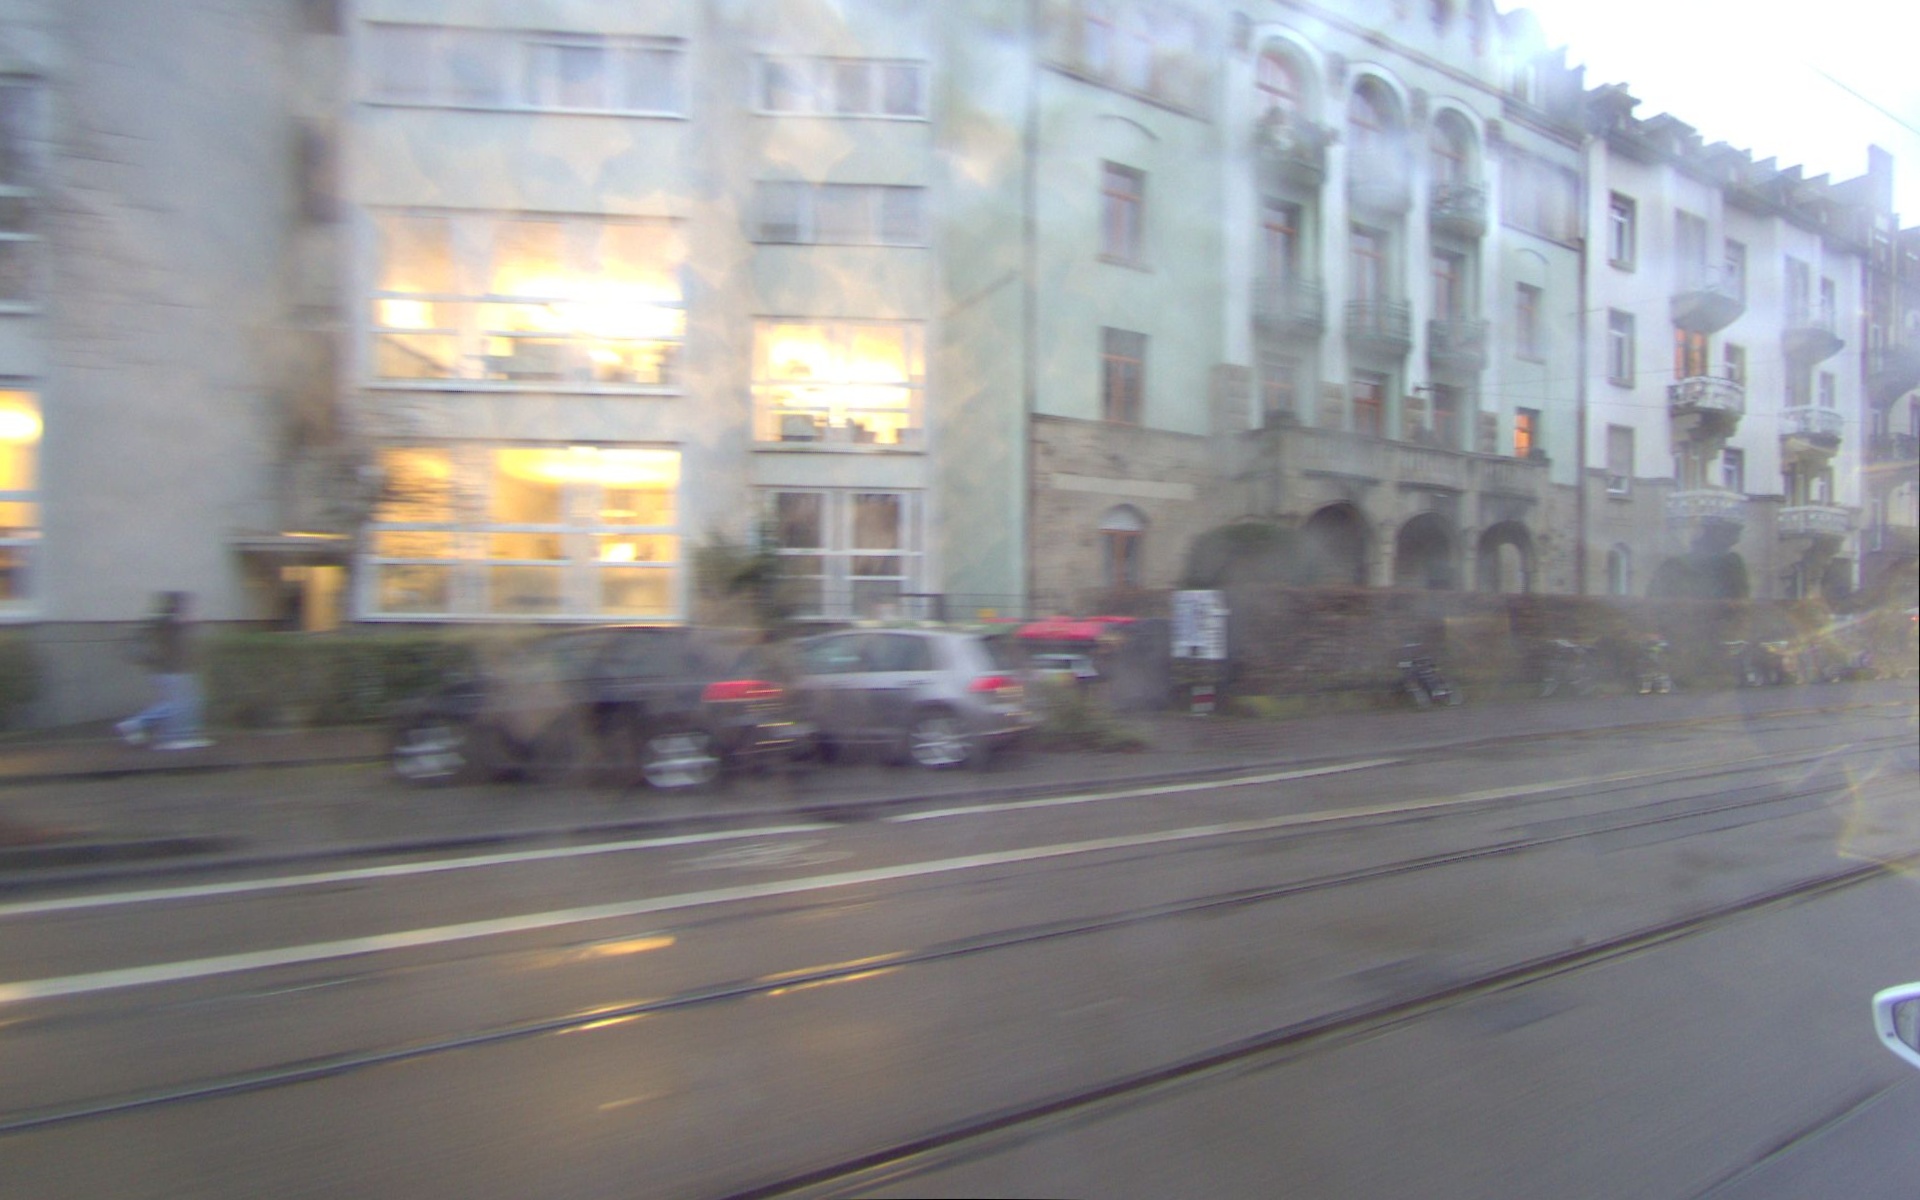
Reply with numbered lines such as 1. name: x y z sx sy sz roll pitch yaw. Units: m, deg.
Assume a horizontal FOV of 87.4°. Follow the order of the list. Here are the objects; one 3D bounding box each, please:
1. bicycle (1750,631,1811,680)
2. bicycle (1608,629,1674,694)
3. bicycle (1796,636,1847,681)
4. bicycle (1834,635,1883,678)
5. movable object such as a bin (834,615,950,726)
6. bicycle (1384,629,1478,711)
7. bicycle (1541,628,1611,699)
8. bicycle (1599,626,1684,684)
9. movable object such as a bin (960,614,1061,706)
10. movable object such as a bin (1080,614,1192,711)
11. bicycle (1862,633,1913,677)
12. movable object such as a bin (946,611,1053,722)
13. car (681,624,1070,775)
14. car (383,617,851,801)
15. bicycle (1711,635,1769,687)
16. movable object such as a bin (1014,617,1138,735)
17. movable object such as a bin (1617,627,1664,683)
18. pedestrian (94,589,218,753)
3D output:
1. bicycle: 18.906 1.281 23.139 1.581 1.044 0.688 6 -4 -35
2. bicycle: 13.657 1.208 20.129 1.583 1.228 0.686 0 -1 -40
3. bicycle: 20.901 1.411 24.371 1.583 1.044 0.686 3 -3 -39
4. bicycle: 22.663 1.404 25.336 1.583 1.044 0.686 2 -2 -39
5. movable object such as a bin: -0.985 0.944 14.171 1.306 1.469 1.260 0 -1 -23
6. bicycle: 7.623 1.102 16.247 1.581 1.228 0.687 0 -1 -35
7. bicycle: 11.389 1.142 18.550 1.583 1.228 0.624 0 -1 -40
8. bicycle: 15.744 1.258 23.247 0.483 1.279 1.585 6 -4 -25
9. movable object such as a bin: 0.834 0.983 17.016 1.306 1.469 1.260 0 -1 -23
10. movable object such as a bin: 2.802 0.958 16.076 1.306 1.469 1.260 0 -1 -23
11. bicycle: 24.367 1.435 26.371 1.909 1.114 0.484 1 -2 -32
12. movable object such as a bin: 0.562 0.900 14.185 1.076 1.469 1.107 -1 -1 39
13. car: -0.884 1.006 11.205 3.920 1.447 1.849 -1 -1 18
14. car: -3.227 0.922 9.693 3.919 1.490 1.833 0 -1 15
15. bicycle: 17.185 1.353 22.114 1.582 1.044 0.686 6 -4 -39
16. movable object such as a bin: 1.551 0.968 13.421 1.247 1.469 1.107 -1 -1 38
17. movable object such as a bin: 14.493 1.166 21.390 0.738 1.152 0.687 0 -1 -44
18. pedestrian: -8.721 0.742 10.931 0.962 1.699 0.594 0 -1 -30
